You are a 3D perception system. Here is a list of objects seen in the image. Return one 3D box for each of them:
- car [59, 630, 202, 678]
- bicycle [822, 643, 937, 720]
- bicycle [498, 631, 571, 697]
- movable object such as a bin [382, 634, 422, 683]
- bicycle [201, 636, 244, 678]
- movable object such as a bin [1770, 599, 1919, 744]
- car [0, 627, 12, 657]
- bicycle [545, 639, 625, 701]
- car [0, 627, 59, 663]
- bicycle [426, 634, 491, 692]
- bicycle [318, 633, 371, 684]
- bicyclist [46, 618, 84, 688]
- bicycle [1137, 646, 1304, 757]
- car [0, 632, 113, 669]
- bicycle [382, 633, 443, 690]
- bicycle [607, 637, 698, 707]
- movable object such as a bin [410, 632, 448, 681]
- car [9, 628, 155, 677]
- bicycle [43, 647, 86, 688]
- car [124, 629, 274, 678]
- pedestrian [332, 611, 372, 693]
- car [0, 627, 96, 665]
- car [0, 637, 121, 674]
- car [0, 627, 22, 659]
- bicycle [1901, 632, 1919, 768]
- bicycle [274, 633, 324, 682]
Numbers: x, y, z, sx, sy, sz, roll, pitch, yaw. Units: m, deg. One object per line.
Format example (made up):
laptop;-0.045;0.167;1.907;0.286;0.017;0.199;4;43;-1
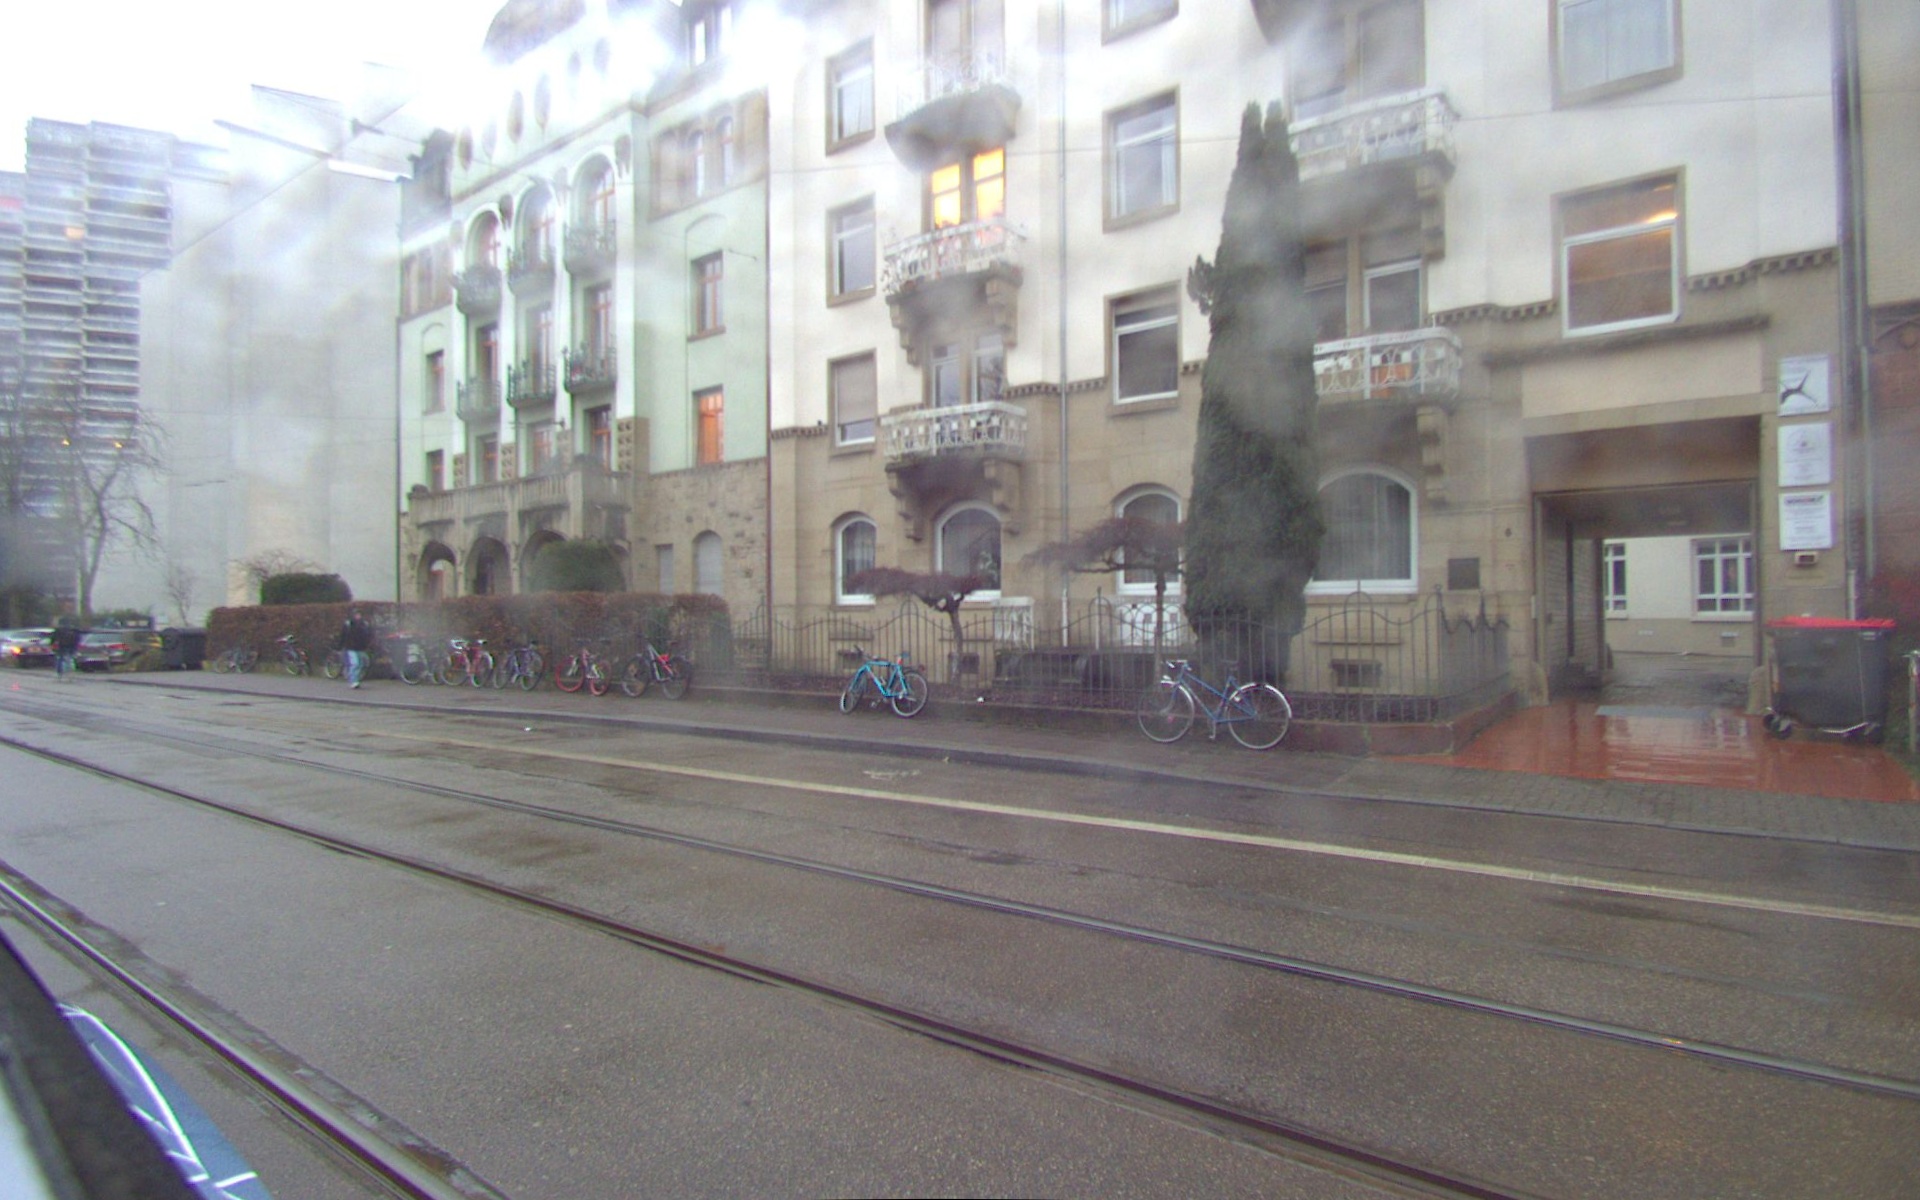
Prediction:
car;-28.699;1.840;35.189;1.740;1.497;3.999;-1;-1;0
bicycle;-1.149;1.119;14.248;1.661;1.010;0.617;-2;-2;40
bicycle;-8.313;1.228;19.745;1.661;1.221;0.617;-2;-2;40
movable object such as a bin;-13.558;1.411;24.596;0.674;1.173;0.651;-2;-2;40
bicycle;-21.499;1.639;29.495;1.661;1.173;0.617;-2;-1;40
movable object such as a bin;9.387;0.718;10.768;1.166;1.390;1.092;-2;1;39
car;-52.451;2.259;53.049;1.843;1.608;3.999;-1;-1;0
bicycle;-6.920;1.270;18.650;1.725;1.073;0.617;-2;-2;40
car;-44.796;2.091;47.306;1.843;1.608;3.999;-1;-1;0
bicycle;-10.571;1.305;21.317;1.661;1.173;0.617;-2;-2;40
bicycle;-15.251;1.432;25.080;1.661;1.221;0.617;-2;-2;40
bicyclist;-24.950;1.461;28.211;0.990;1.891;0.617;-2;-2;40
bicycle;2.831;1.067;11.090;1.661;1.101;0.617;-2;-2;40
car;-39.037;2.149;43.532;1.843;1.460;3.999;-1;-1;0
bicycle;-12.228;1.344;22.581;1.661;1.221;0.617;-2;-2;40
bicycle;-5.295;1.203;17.388;1.781;1.134;0.617;-2;-2;40
movable object such as a bin;-13.198;1.398;25.159;0.674;1.173;0.617;-2;-2;40
car;-31.707;1.852;36.711;1.843;1.608;3.999;-1;-1;0
bicycle;-25.044;1.872;28.290;1.946;1.101;0.617;-2;-2;40
car;-26.033;1.784;34.793;1.847;1.505;3.989;-1;-1;8
pedestrian;-13.365;1.128;22.236;0.644;1.738;0.567;0;1;41
car;-42.047;2.075;46.159;1.843;1.608;3.999;-1;-1;0
car;-33.713;2.045;37.848;1.687;1.262;3.666;0;-2;-1
car;-49.984;2.212;50.948;1.843;1.608;3.999;-1;-1;0
bicycle;8.677;0.898;8.671;0.694;1.114;2.326;-2;1;38
bicycle;-17.250;1.487;26.401;1.661;1.221;0.617;-2;-2;40
